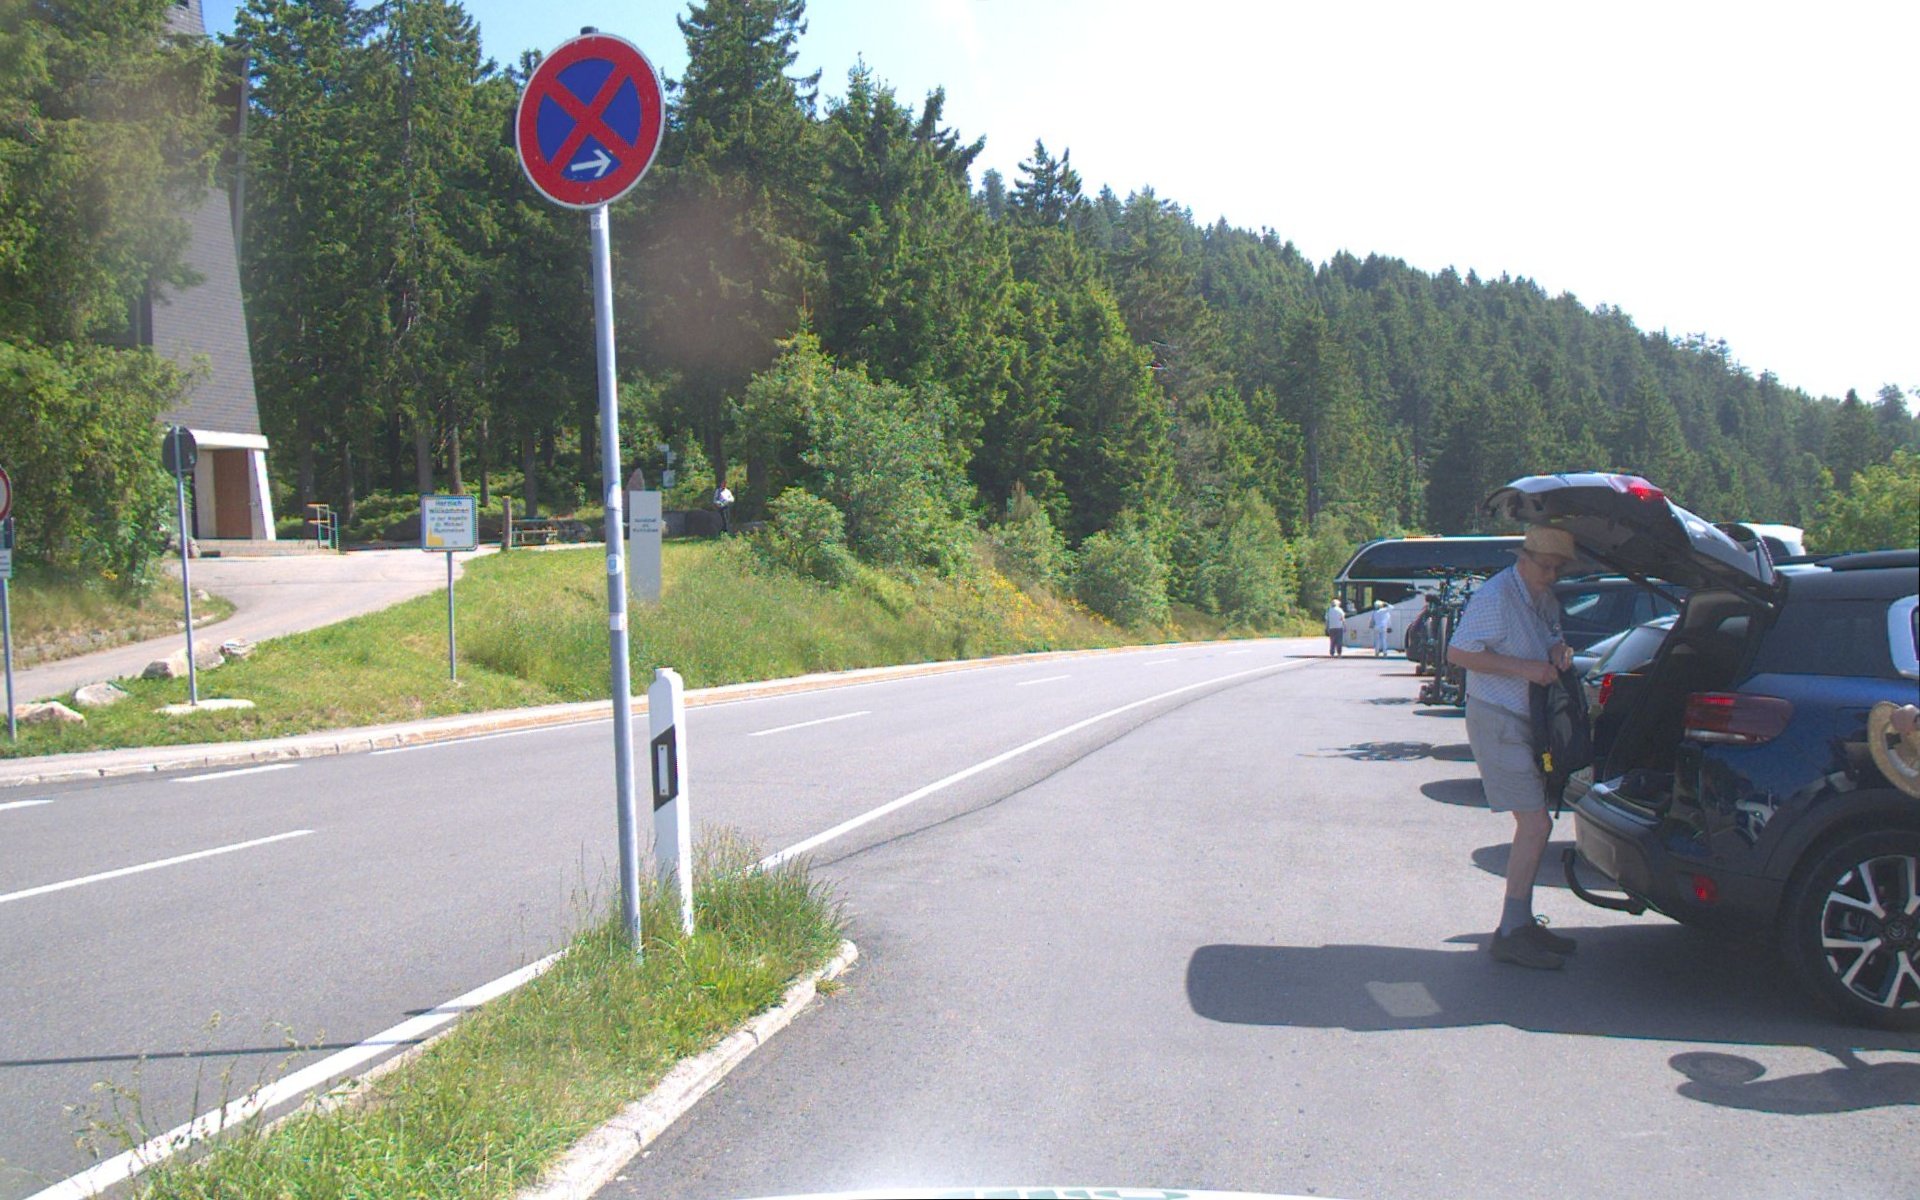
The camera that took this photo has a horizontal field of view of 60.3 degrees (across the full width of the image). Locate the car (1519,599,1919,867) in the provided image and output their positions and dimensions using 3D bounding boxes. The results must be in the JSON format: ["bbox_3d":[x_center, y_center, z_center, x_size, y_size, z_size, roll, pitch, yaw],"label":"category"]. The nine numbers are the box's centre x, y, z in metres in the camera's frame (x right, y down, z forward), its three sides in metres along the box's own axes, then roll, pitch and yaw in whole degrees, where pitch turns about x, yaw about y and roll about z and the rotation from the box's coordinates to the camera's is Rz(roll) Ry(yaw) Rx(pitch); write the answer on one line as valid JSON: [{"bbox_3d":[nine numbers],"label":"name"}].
[{"bbox_3d":[5.548,0.741,9.707,3.995,1.400,1.703,1,0,5],"label":"car"}]

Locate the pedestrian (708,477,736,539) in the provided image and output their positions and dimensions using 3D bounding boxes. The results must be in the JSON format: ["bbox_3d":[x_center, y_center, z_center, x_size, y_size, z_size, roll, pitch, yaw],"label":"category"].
[{"bbox_3d":[-7.602,-2.936,52.887,0.666,1.910,0.542,-2,-1,17],"label":"pedestrian"}]

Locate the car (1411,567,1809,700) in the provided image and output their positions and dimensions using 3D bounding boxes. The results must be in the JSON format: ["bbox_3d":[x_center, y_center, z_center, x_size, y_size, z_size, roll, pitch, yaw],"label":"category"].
[{"bbox_3d":[8.872,0.473,23.077,4.927,1.680,2.049,-1,0,15],"label":"car"}]

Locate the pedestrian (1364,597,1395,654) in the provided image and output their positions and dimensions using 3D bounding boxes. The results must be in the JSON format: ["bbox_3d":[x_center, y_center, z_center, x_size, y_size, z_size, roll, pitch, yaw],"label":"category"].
[{"bbox_3d":[12.031,0.726,47.441,0.754,1.613,0.772,-1,0,21],"label":"pedestrian"}]

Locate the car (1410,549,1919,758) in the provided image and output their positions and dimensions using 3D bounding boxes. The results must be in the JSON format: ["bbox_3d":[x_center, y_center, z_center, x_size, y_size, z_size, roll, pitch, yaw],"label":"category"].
[{"bbox_3d":[6.629,0.461,15.013,4.844,1.725,1.946,-1,0,17],"label":"car"}]

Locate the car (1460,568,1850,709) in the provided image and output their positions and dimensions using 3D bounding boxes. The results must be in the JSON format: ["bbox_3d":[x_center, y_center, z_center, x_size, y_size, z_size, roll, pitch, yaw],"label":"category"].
[{"bbox_3d":[8.364,0.474,20.311,4.153,1.581,1.839,-1,0,15],"label":"car"}]

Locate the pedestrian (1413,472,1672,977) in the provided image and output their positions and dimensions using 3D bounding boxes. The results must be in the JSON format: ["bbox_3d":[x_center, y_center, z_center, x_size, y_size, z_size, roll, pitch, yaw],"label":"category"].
[{"bbox_3d":[2.371,0.447,6.739,0.725,1.903,0.753,2,3,45],"label":"pedestrian"}]

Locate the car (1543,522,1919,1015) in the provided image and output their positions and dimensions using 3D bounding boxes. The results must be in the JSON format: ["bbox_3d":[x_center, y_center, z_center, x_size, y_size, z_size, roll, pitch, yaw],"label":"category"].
[{"bbox_3d":[4.676,0.656,6.395,4.251,1.654,1.871,3,0,9],"label":"car"}]

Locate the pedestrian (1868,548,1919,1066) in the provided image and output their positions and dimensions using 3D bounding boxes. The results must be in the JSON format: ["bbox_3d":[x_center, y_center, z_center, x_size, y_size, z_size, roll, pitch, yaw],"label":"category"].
[{"bbox_3d":[3.402,0.660,5.294,0.699,1.641,0.537,1,-1,4],"label":"pedestrian"}]

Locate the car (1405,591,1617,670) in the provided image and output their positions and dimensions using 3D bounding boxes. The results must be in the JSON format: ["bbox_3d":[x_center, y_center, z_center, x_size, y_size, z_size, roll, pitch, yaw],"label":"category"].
[{"bbox_3d":[11.035,0.612,33.383,3.902,1.474,1.862,-1,0,15],"label":"car"}]

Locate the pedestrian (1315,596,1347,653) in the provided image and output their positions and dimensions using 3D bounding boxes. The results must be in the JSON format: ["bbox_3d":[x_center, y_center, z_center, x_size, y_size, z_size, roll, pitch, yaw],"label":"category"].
[{"bbox_3d":[10.740,0.713,47.828,0.754,1.613,0.772,-1,0,21],"label":"pedestrian"}]

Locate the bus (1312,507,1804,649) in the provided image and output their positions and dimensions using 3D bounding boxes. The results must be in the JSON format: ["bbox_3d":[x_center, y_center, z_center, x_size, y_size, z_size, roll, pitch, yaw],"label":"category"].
[{"bbox_3d":[16.845,-0.506,47.377,12.832,3.594,3.042,-1,0,25],"label":"bus"}]

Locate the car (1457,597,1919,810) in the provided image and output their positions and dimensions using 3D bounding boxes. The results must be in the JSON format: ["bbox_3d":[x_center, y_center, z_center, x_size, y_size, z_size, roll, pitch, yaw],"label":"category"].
[{"bbox_3d":[5.916,0.723,12.345,3.994,1.400,1.704,1,0,8],"label":"car"}]
